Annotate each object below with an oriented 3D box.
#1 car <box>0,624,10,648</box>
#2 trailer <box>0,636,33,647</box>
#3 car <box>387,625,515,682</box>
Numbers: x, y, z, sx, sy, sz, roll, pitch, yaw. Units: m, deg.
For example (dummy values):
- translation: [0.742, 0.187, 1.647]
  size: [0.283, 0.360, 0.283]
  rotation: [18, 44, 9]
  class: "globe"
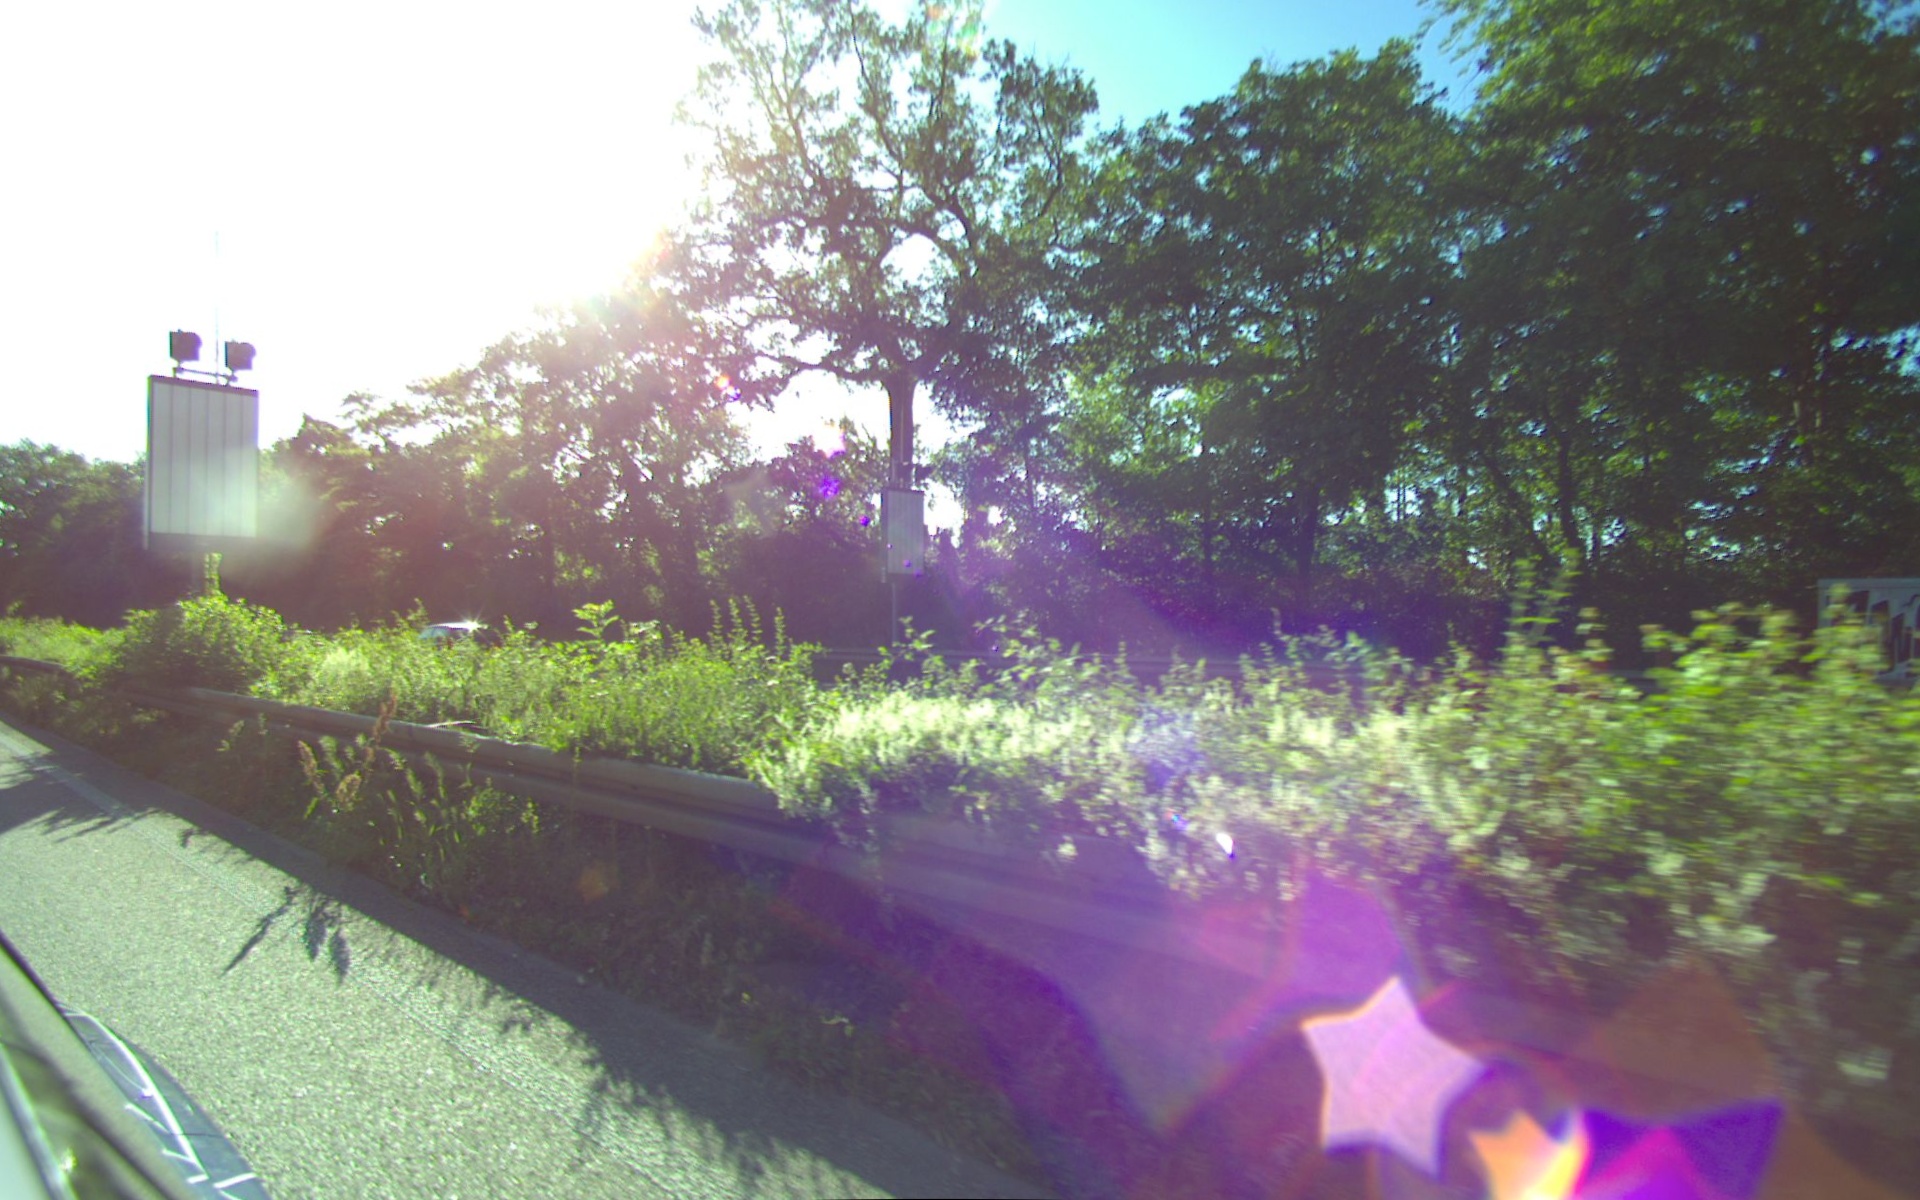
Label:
- translation: [-73.271, 2.707, 76.145]
  size: [4.737, 1.737, 1.942]
  rotation: [-1, -1, 38]
  class: "car"
- translation: [-68.537, 2.947, 72.398]
  size: [6.322, 0.746, 2.237]
  rotation: [-1, -1, 38]
  class: "trailer"
- translation: [-14.184, 1.429, 28.124]
  size: [4.129, 1.435, 1.691]
  rotation: [-1, -1, 40]
  class: "car"
